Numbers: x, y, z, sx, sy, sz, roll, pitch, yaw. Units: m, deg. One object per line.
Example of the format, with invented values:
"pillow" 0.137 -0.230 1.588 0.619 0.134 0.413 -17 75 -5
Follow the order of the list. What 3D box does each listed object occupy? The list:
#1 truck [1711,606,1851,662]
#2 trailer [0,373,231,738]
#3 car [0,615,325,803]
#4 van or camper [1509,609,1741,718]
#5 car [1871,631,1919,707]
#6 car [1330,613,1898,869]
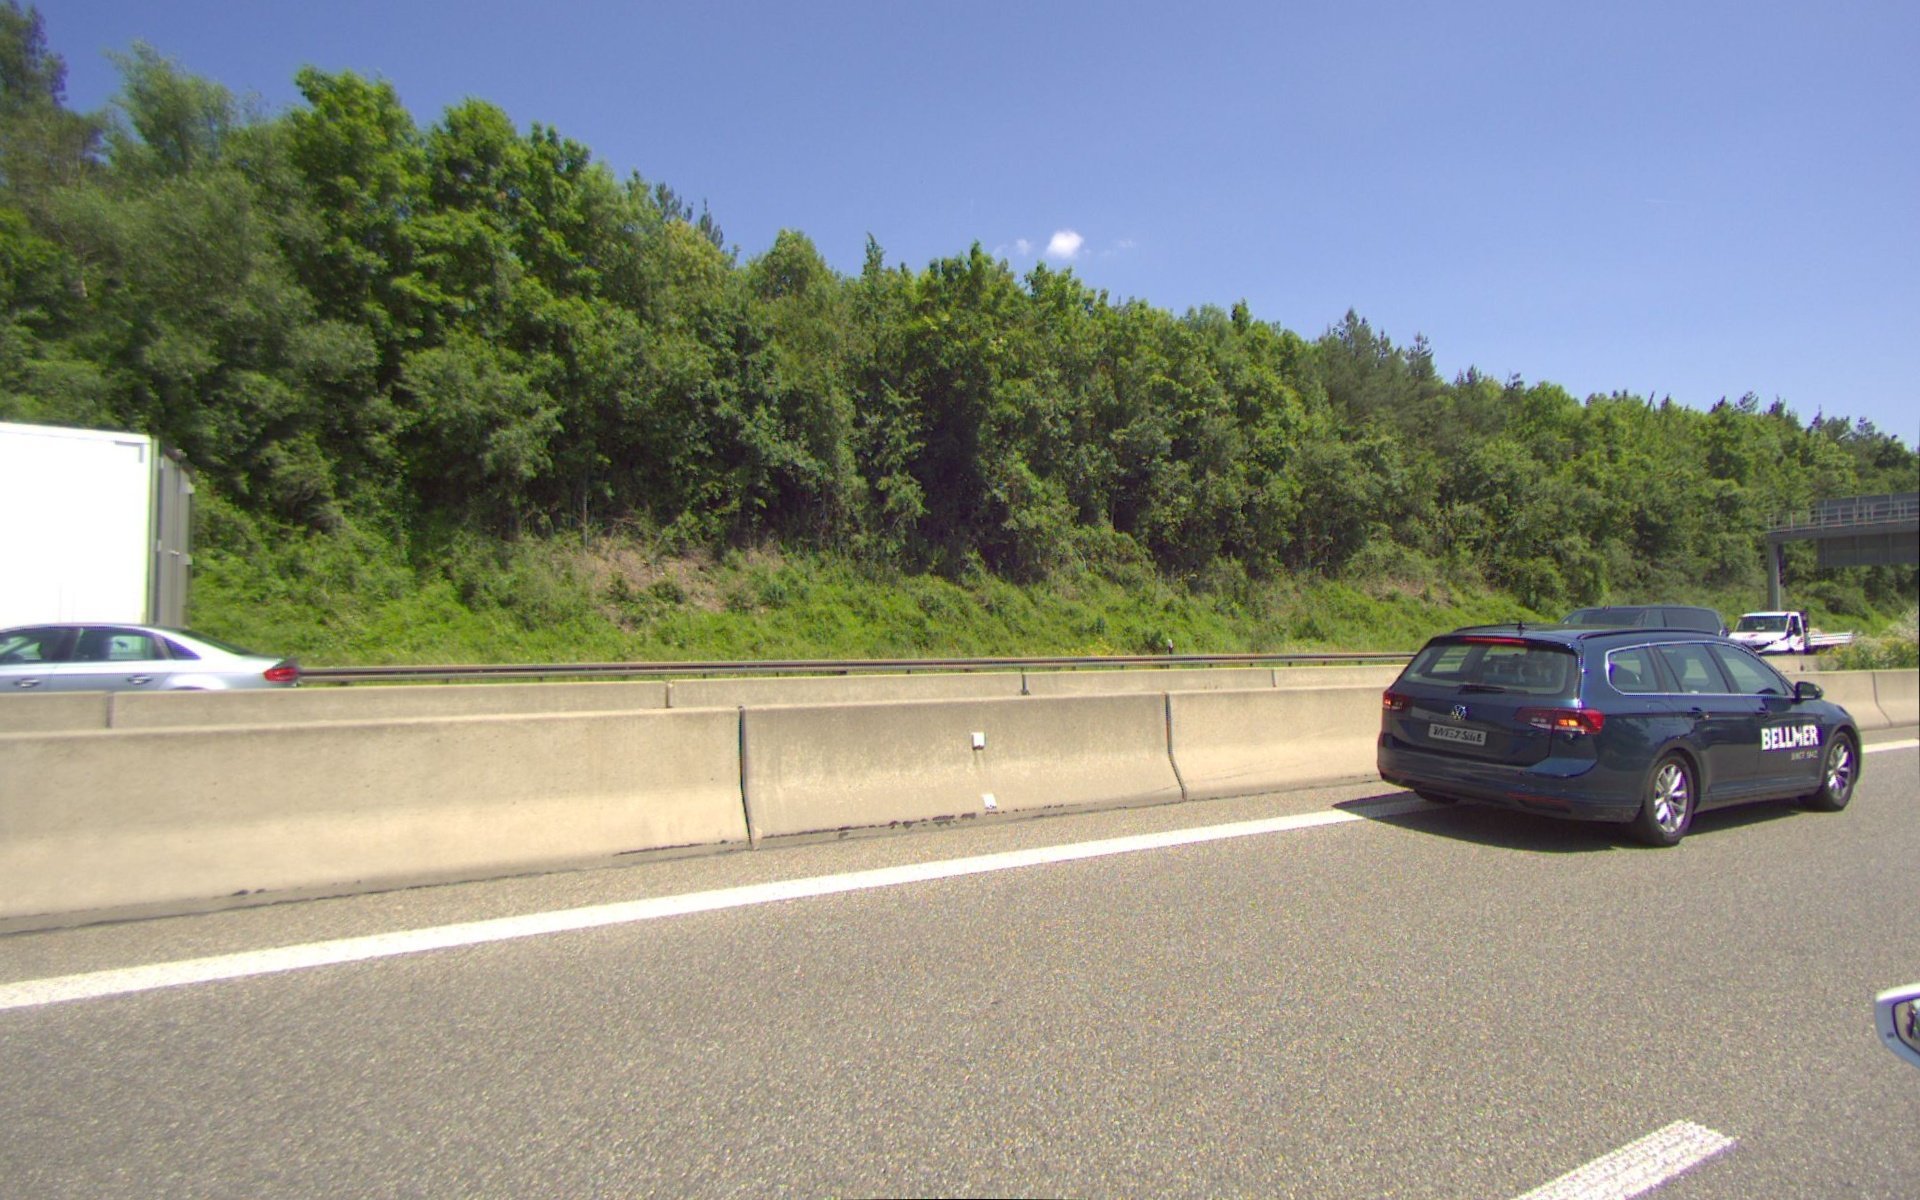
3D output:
"truck" 33.084 1.395 40.416 6.419 2.040 2.339 2 -1 -31
"trailer" -15.600 -0.684 12.044 10.691 4.540 2.935 2 -1 -31
"car" -9.578 1.104 10.890 4.400 1.786 1.984 2 -1 -31
"van or camper" 13.967 1.305 21.038 4.867 2.040 1.985 2 -1 -29
"car" 27.711 1.958 28.224 3.953 2.040 1.984 2 -1 -30
"car" 5.238 0.906 7.886 4.623 1.469 1.865 2 0 -30
